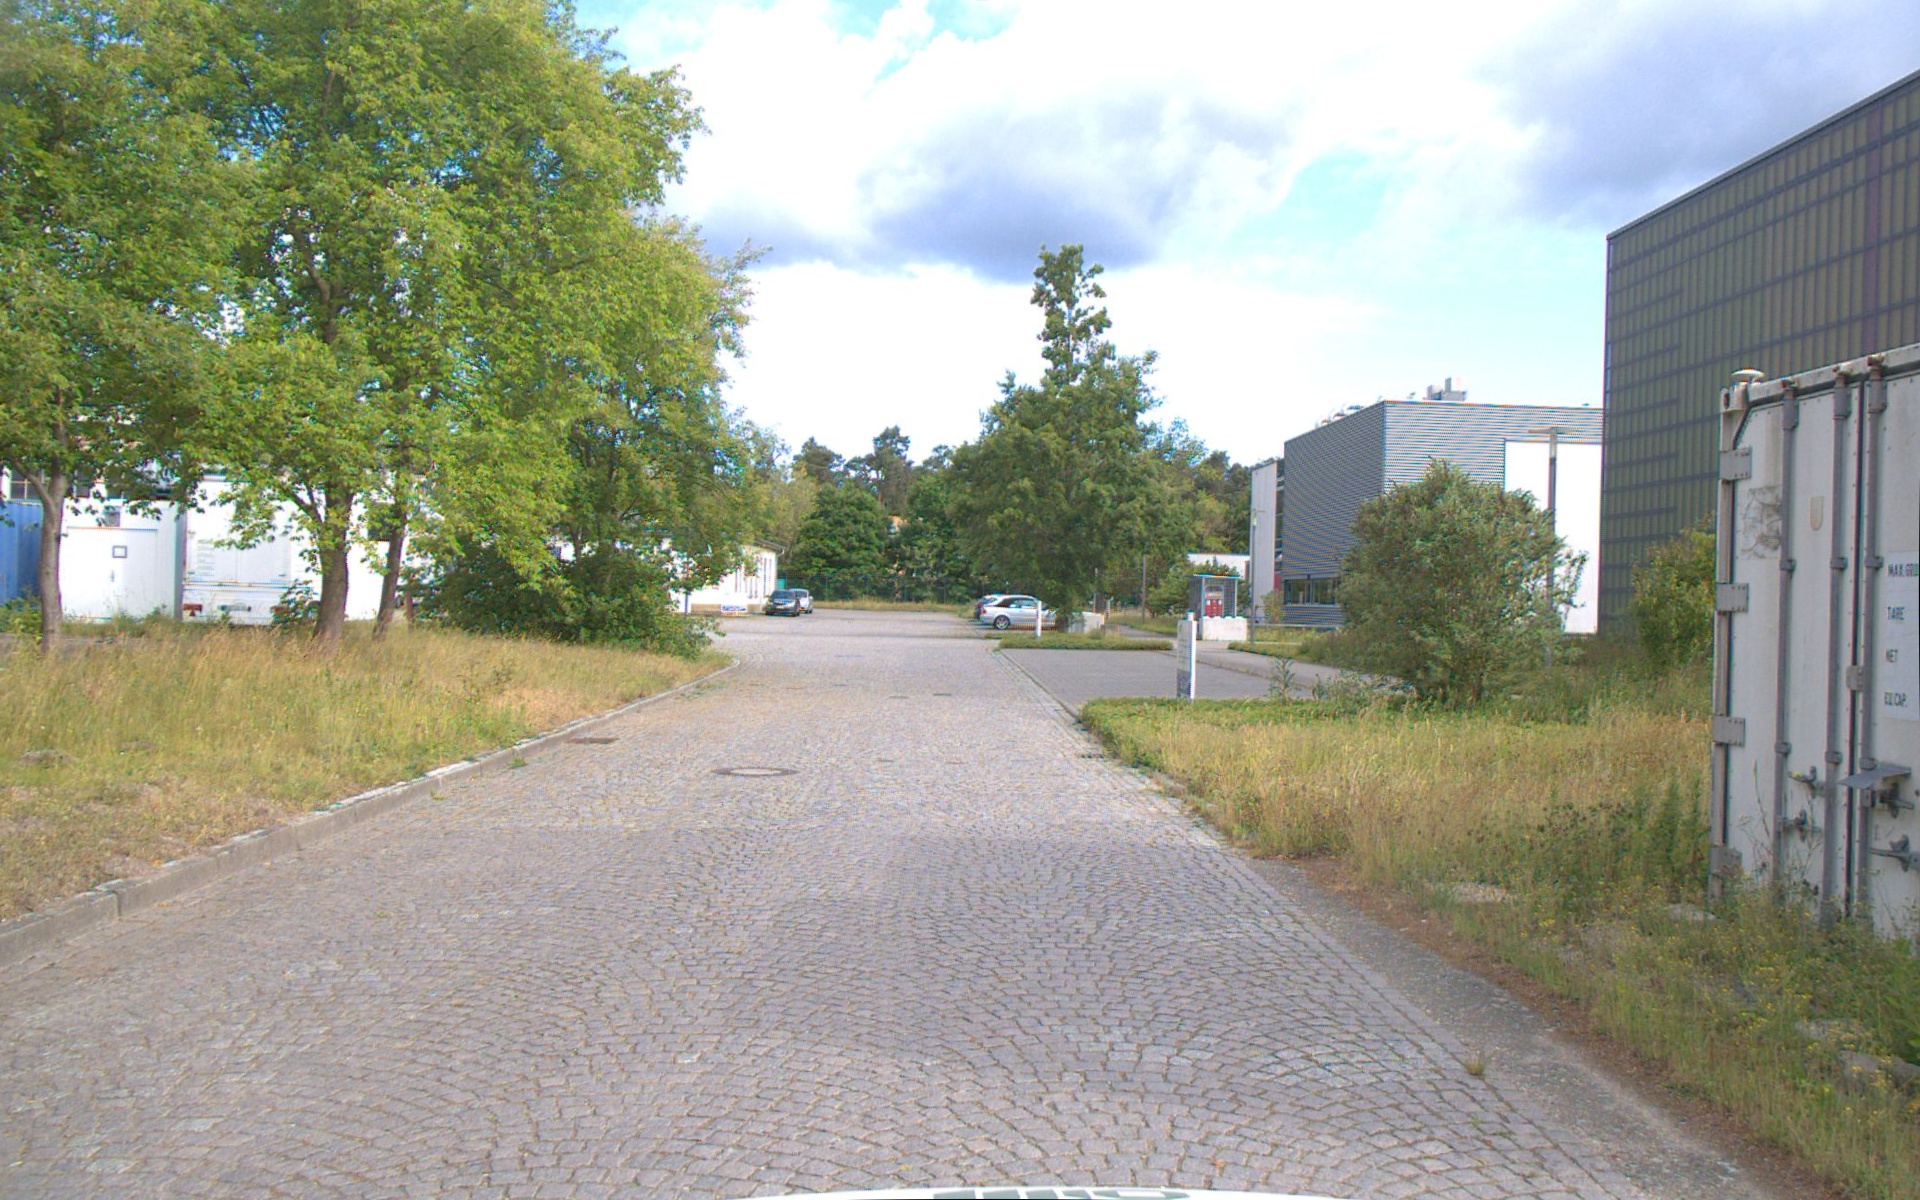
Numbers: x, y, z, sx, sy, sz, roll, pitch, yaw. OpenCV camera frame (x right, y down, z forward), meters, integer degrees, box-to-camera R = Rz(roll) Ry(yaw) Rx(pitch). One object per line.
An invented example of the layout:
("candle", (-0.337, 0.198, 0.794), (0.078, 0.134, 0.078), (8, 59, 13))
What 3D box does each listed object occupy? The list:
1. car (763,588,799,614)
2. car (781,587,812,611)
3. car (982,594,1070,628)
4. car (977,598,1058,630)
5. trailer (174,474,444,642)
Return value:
("car", (-10.128, 0.067, 93.779), (1.614, 1.393, 3.997), (2, 0, -1))
("car", (-10.255, -0.075, 104.119), (1.614, 1.483, 3.997), (2, 0, -1))
("car", (2.976, 0.500, 75.258), (3.903, 1.473, 1.653), (0, 0, -1))
("car", (2.505, 0.610, 72.551), (3.451, 1.386, 1.622), (0, 0, -1))
("trailer", (-16.064, -0.953, 41.886), (2.571, 3.660, 10.178), (2, 0, 1))
